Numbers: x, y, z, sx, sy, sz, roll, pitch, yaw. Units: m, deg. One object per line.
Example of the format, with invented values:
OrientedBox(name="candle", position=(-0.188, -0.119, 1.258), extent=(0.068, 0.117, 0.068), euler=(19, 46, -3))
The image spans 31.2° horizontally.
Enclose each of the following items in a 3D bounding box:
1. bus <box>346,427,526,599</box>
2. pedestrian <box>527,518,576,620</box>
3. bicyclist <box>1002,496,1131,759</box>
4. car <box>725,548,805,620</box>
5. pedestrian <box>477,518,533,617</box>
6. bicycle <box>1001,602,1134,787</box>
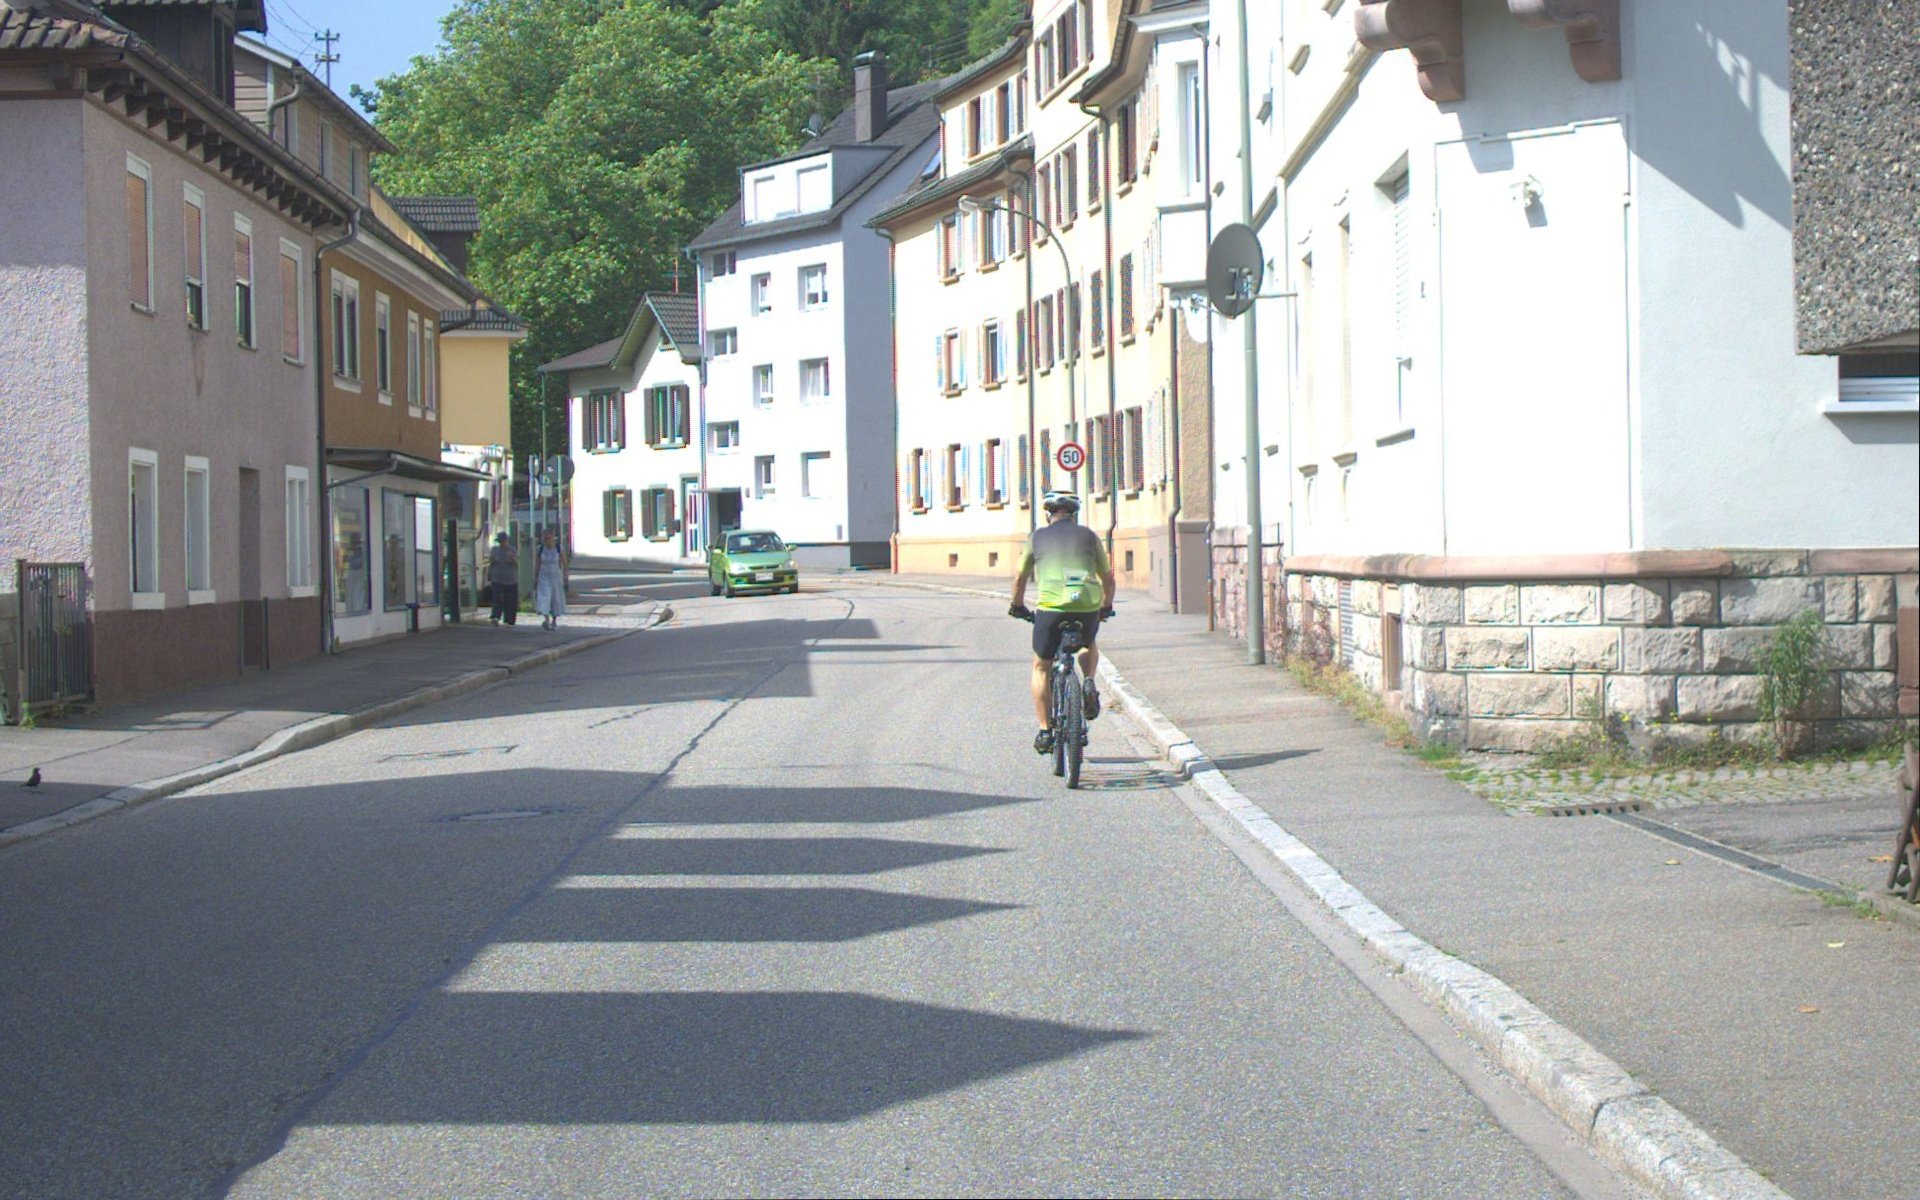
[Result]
OrientedBox(name="bus", position=(-10.505, -1.757, 69.724), extent=(2.820, 3.217, 9.037), euler=(1, 1, -4))
OrientedBox(name="pedestrian", position=(-6.591, -0.507, 55.473), extent=(0.639, 1.621, 0.777), euler=(2, 1, 0))
OrientedBox(name="bicyclist", position=(0.631, 0.155, 20.593), extent=(0.685, 1.526, 0.716), euler=(-2, 1, -2))
OrientedBox(name="car", position=(-4.393, -0.371, 76.992), extent=(1.596, 1.459, 3.660), euler=(-4, 1, -5))
OrientedBox(name="pedestrian", position=(-7.344, -0.532, 55.480), extent=(0.735, 1.559, 0.824), euler=(2, 1, 0))
OrientedBox(name="bicycle", position=(0.637, 0.550, 20.748), extent=(0.698, 1.032, 1.471), euler=(0, 2, -2))
